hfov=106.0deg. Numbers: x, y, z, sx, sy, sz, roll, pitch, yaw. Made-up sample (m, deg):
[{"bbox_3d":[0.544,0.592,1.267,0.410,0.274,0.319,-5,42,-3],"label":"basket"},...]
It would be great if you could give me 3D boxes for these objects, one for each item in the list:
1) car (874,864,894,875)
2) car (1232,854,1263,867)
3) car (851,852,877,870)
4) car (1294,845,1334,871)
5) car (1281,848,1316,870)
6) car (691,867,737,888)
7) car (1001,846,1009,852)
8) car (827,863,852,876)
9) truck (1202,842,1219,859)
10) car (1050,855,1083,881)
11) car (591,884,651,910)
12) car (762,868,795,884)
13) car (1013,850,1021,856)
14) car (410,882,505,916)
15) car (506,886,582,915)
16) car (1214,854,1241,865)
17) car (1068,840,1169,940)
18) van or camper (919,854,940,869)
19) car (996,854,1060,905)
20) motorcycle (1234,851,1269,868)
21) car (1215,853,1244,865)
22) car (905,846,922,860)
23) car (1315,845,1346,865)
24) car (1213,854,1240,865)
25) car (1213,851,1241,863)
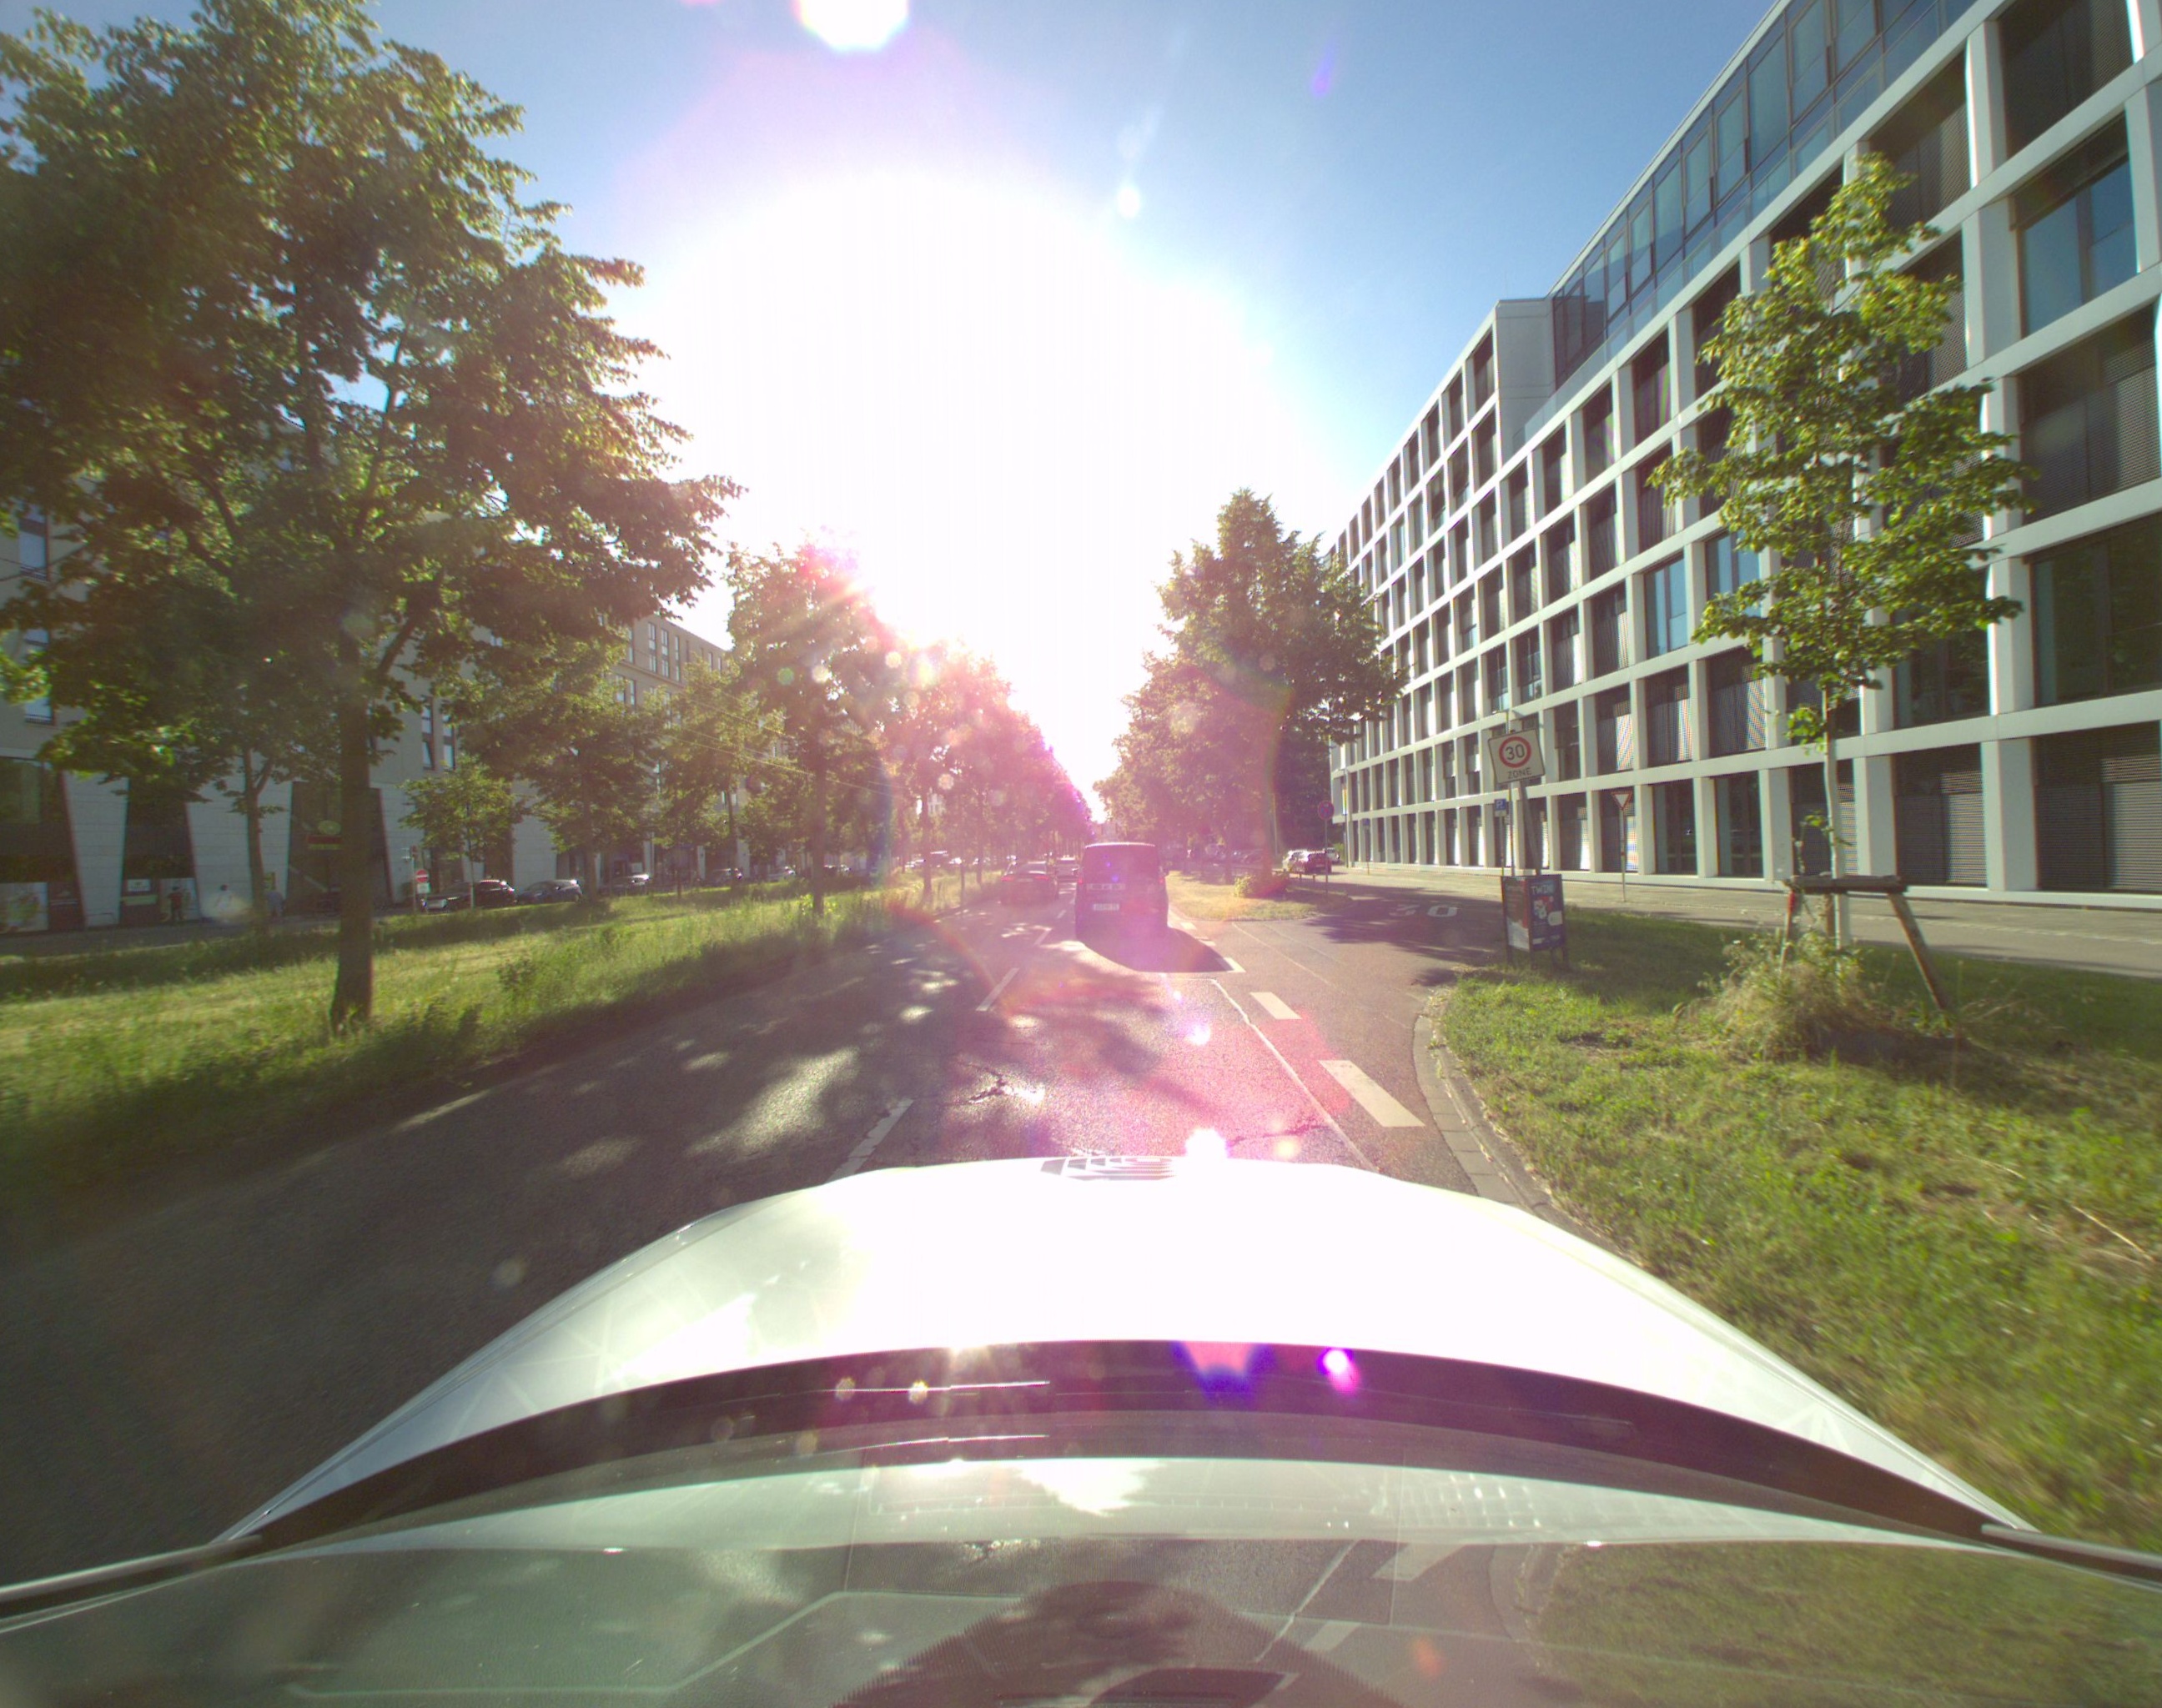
[{"bbox_3d":[-26.624,2.031,110.040,1.574,1.342,3.713,-2,0,2],"label":"car"},{"bbox_3d":[18.960,0.690,92.999,3.379,1.358,1.474,-2,0,8],"label":"car"},{"bbox_3d":[-26.163,0.813,98.422,1.987,2.013,4.000,-2,0,0],"label":"car"},{"bbox_3d":[15.413,0.272,54.034,1.750,1.611,3.907,-2,0,4],"label":"car"},{"bbox_3d":[15.730,0.340,59.035,1.810,1.532,3.442,-2,0,6],"label":"car"},{"bbox_3d":[-28.855,1.834,64.136,1.769,1.528,3.807,-2,0,2],"label":"car"},{"bbox_3d":[-21.129,-1.312,227.653,1.749,1.574,4.002,-2,0,2],"label":"car"},{"bbox_3d":[-27.419,1.773,92.673,1.574,1.342,3.713,-2,0,2],"label":"car"},{"bbox_3d":[19.811,-0.586,124.811,1.825,2.501,5.935,-2,0,2],"label":"truck"},{"bbox_3d":[-0.860,0.812,50.298,1.801,1.434,4.115,-2,0,2],"label":"car"},{"bbox_3d":[-29.179,2.712,51.778,1.574,1.342,3.713,-2,0,2],"label":"car"},{"bbox_3d":[-28.529,2.062,76.912,1.574,1.342,3.713,-2,0,2],"label":"car"},{"bbox_3d":[-19.455,-0.296,246.971,1.749,1.574,4.002,-2,0,2],"label":"car"},{"bbox_3d":[-29.613,2.118,38.814,1.574,1.342,3.713,-2,0,2],"label":"car"},{"bbox_3d":[-29.440,2.515,44.787,1.574,1.342,3.713,-2,0,2],"label":"car"},{"bbox_3d":[18.766,0.684,104.641,3.379,1.358,1.474,-2,0,8],"label":"car"},{"bbox_3d":[0.707,0.647,16.753,1.802,1.794,4.113,-1,0,1],"label":"car"},{"bbox_3d":[-18.793,0.935,101.279,1.814,1.738,3.713,-2,0,2],"label":"van or camper"},{"bbox_3d":[-1.723,0.804,27.554,1.802,1.527,4.113,-2,0,0],"label":"car"},{"bbox_3d":[17.815,0.547,85.228,3.379,1.663,1.474,-2,0,8],"label":"motorcycle"},{"bbox_3d":[17.791,0.581,97.537,3.379,1.358,1.474,-2,0,8],"label":"car"},{"bbox_3d":[-25.986,-0.158,126.210,1.723,2.013,4.000,-2,1,0],"label":"car"},{"bbox_3d":[23.803,0.129,77.814,1.985,1.816,4.004,-1,0,4],"label":"car"},{"bbox_3d":[19.058,0.705,106.942,3.379,1.358,1.474,-2,0,8],"label":"car"},{"bbox_3d":[18.220,0.402,101.975,3.379,1.358,1.474,-2,0,8],"label":"car"}]
